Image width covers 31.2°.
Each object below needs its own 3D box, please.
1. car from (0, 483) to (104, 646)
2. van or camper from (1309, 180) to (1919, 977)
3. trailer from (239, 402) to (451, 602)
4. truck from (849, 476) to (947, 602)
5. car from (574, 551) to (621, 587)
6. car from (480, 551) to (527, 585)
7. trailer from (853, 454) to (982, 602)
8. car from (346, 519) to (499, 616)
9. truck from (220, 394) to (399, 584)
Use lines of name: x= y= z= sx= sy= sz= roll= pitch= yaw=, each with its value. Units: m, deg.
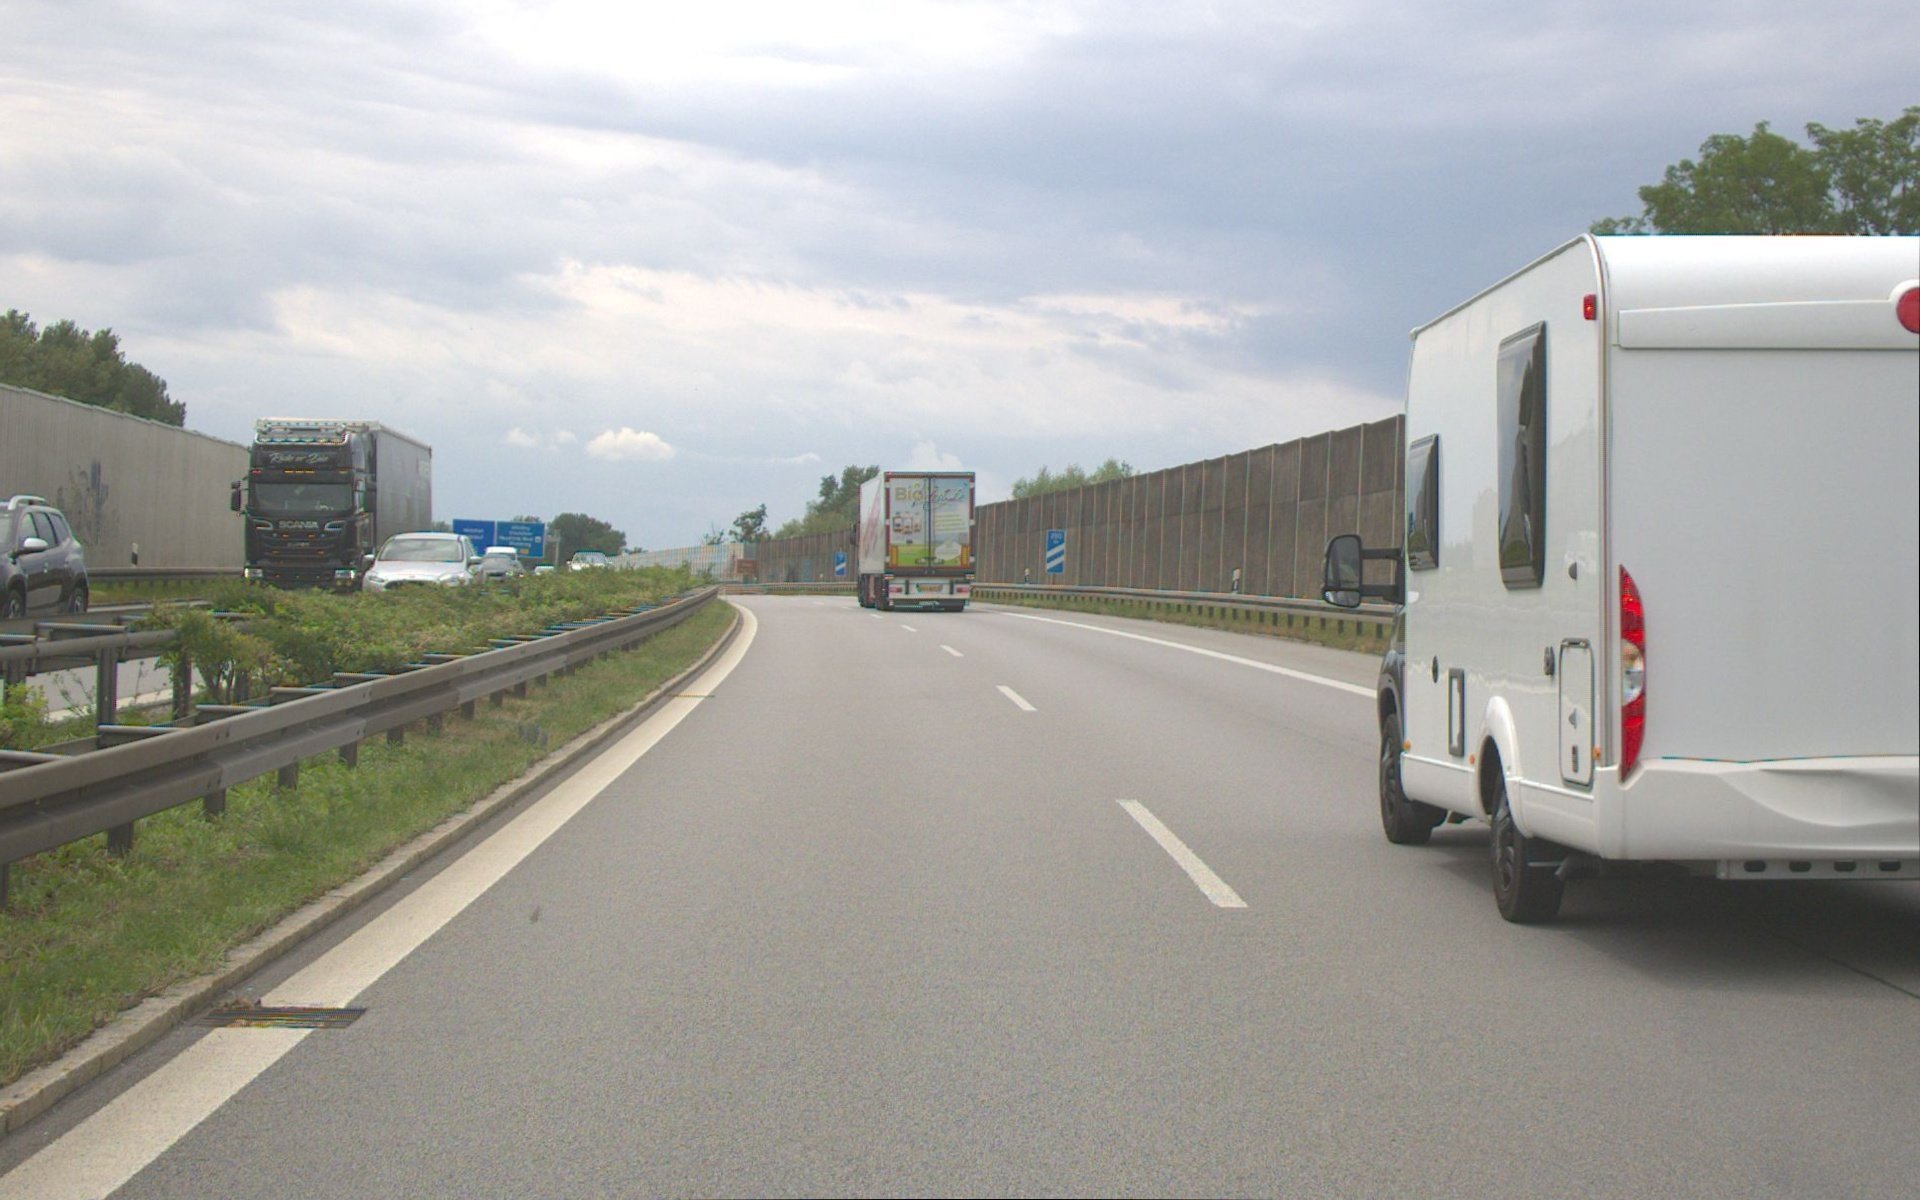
car: x=-10.544 y=-0.410 z=36.864 sx=1.715 sy=1.636 sz=4.705 roll=1 pitch=1 yaw=-2
van or camper: x=3.253 y=-0.104 z=15.345 sx=2.429 sy=2.687 sz=7.226 roll=1 pitch=1 yaw=-1
trailer: x=-14.183 y=-2.191 z=80.524 sx=2.981 sy=4.225 sz=14.181 roll=1 pitch=1 yaw=-2
truck: x=-2.044 y=-1.920 z=111.132 sx=2.755 sy=3.946 sz=5.678 roll=1 pitch=0 yaw=-5
car: x=-17.352 y=-1.488 z=164.934 sx=1.963 sy=1.664 sz=4.925 roll=2 pitch=0 yaw=-3
car: x=-19.630 y=-1.392 z=147.877 sx=1.722 sy=1.412 sz=4.555 roll=0 pitch=1 yaw=-4
trailer: x=-1.415 y=-2.065 z=104.906 sx=2.792 sy=4.160 sz=14.105 roll=1 pitch=0 yaw=-5
car: x=-9.105 y=-0.564 z=58.538 sx=1.931 sy=1.543 sz=4.567 roll=1 pitch=1 yaw=-1
truck: x=-13.850 y=-2.322 z=73.588 sx=2.873 sy=3.845 sz=6.075 roll=1 pitch=1 yaw=-2
